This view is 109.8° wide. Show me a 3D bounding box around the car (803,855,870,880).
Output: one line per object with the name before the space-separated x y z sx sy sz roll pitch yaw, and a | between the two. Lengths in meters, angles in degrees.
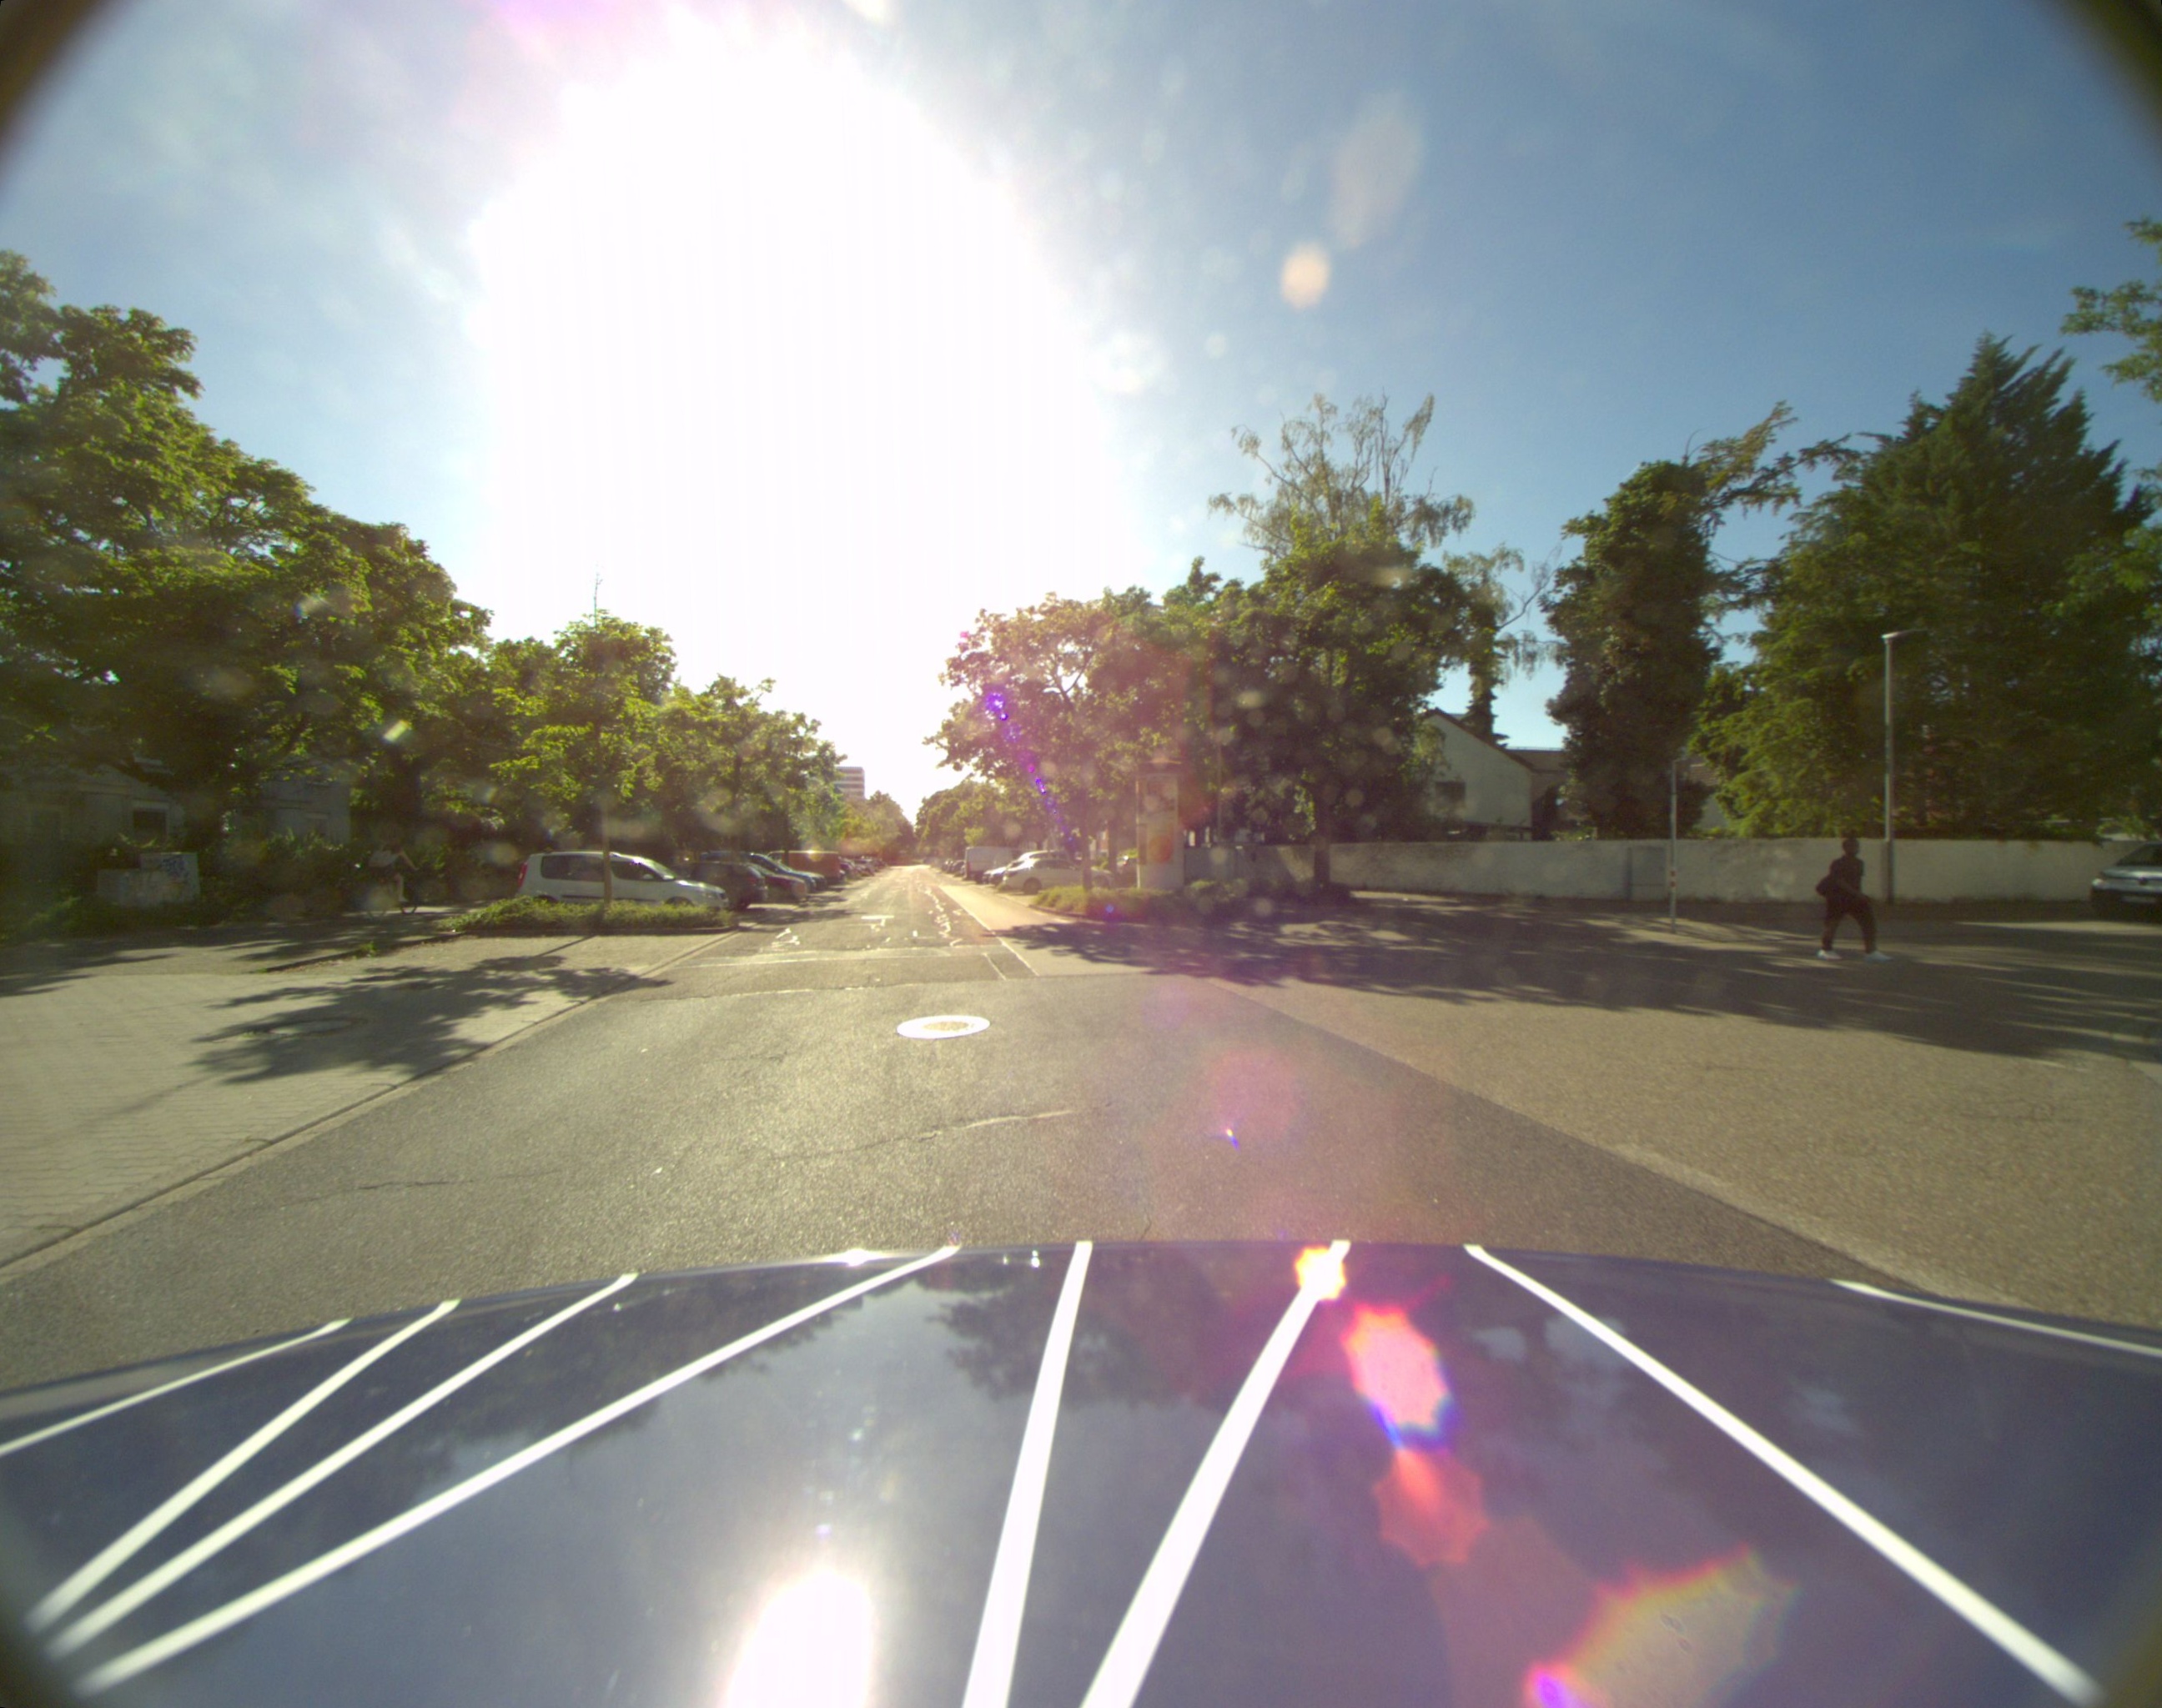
car | -16.984 0.938 52.989 4.262 1.604 1.971 1 1 -14

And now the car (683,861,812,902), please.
car | -12.391 1.018 28.482 4.170 1.398 1.826 1 1 -14

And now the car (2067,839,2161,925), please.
car | 26.112 0.596 17.599 5.149 1.903 1.902 0 1 -12

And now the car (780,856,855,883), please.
car | -16.325 0.947 47.286 4.262 1.562 1.971 1 1 -14

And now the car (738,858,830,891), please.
car | -13.883 0.973 35.738 3.789 1.465 1.766 1 1 -14

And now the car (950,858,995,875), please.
car | -11.640 1.328 81.301 4.568 1.819 1.998 0 -1 -13

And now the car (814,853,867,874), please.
car | -20.881 0.836 66.050 4.262 1.706 1.971 1 1 -14

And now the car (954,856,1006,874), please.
car | -9.201 0.990 69.078 4.568 1.590 1.998 0 -1 -13

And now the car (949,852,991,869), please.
car | -12.499 0.728 85.627 4.568 1.819 1.998 0 -1 -13

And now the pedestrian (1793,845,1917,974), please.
pedestrian | 10.491 0.724 10.330 0.838 1.675 0.807 1 1 1

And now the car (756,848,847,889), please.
car | -14.642 0.751 40.067 4.262 2.020 1.971 1 1 -14

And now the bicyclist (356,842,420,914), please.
bicyclist | -15.037 0.516 16.514 0.596 1.514 1.013 0 0 -11

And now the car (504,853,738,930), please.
car | -10.212 0.800 17.207 4.170 1.588 1.826 1 1 -14

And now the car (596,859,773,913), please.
car | -11.170 0.901 21.726 4.170 1.398 1.826 1 1 -14

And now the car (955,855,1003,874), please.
car | -10.148 1.025 75.813 4.568 1.819 1.998 0 -1 -13

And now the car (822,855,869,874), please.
car | -22.624 0.972 73.110 4.262 1.706 1.971 1 1 -14

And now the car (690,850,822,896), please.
car | -13.063 0.772 30.861 4.667 1.762 1.826 1 1 -14

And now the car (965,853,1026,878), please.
car | -6.673 0.888 59.247 4.568 1.819 1.998 0 -1 -13

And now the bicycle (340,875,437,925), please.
bicycle | -15.057 0.973 16.593 0.596 0.990 2.087 0 -1 -12

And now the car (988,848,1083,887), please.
car | -2.405 0.688 39.560 4.638 1.979 1.998 0 0 -13

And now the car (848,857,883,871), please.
car | -28.196 1.344 99.591 4.262 1.706 1.971 1 1 -14

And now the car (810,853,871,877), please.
car | -18.218 0.808 57.652 4.262 1.743 1.971 1 1 -14

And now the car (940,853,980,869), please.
car | -14.666 0.827 92.014 4.568 1.819 1.998 0 -1 -13

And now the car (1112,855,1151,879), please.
car | 3.495 0.886 53.393 1.836 1.604 4.140 1 0 -8

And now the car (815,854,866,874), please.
car | -21.687 0.869 68.665 4.262 1.706 1.971 1 1 -14

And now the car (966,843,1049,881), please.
car | -4.837 0.522 49.803 5.137 2.364 1.998 0 0 -13

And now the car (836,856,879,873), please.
car | -23.607 1.077 80.475 4.262 1.706 1.971 1 1 -14

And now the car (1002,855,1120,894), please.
car | -0.880 0.822 32.061 4.689 1.398 1.827 -2 1 -11
